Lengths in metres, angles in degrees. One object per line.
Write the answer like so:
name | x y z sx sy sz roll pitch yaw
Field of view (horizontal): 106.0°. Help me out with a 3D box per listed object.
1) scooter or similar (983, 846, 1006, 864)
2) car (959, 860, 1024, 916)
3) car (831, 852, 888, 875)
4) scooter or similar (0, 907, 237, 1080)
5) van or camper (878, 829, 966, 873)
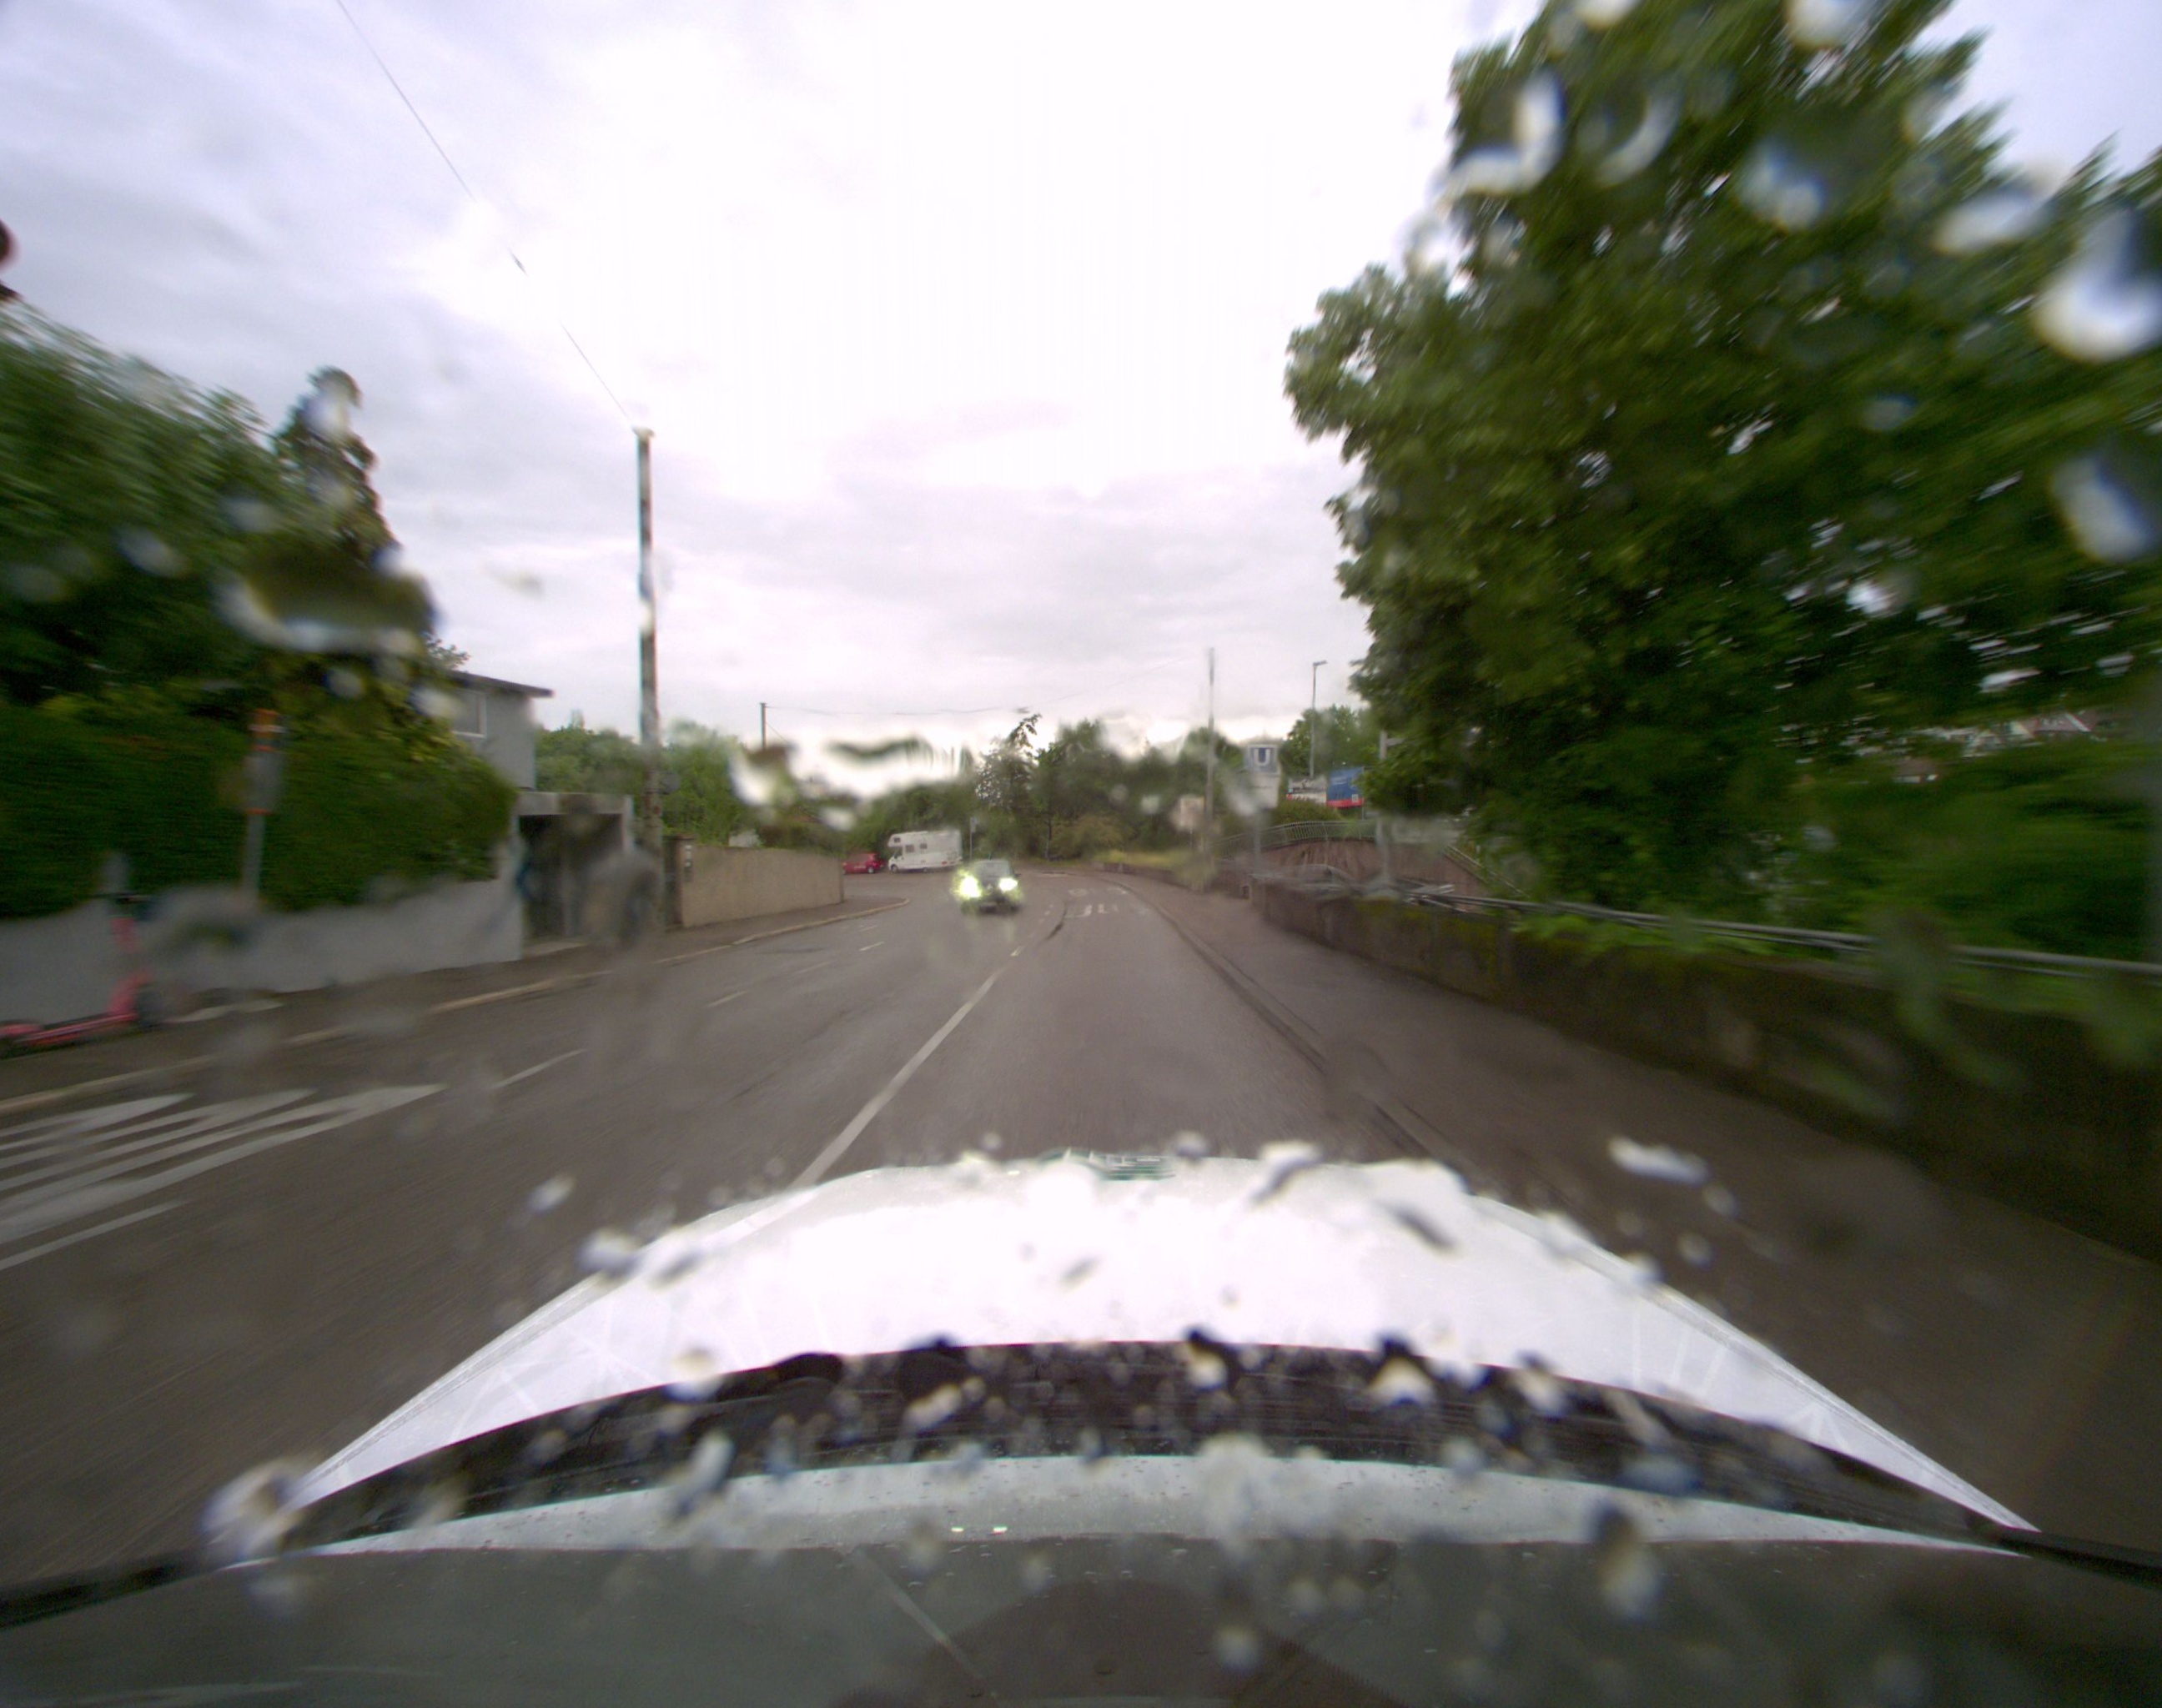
scooter or similar | -6.413 0.078 60.270 1.687 1.282 0.455 -3 2 33
car | -2.733 0.994 25.568 1.763 1.520 3.971 -1 0 -3
car | -17.156 0.710 63.199 3.768 1.460 1.653 -3 5 13
scooter or similar | -8.185 1.108 6.888 0.520 1.203 1.436 -2 0 2
van or camper | -11.889 -0.202 60.699 6.200 2.943 2.414 -2 5 32
